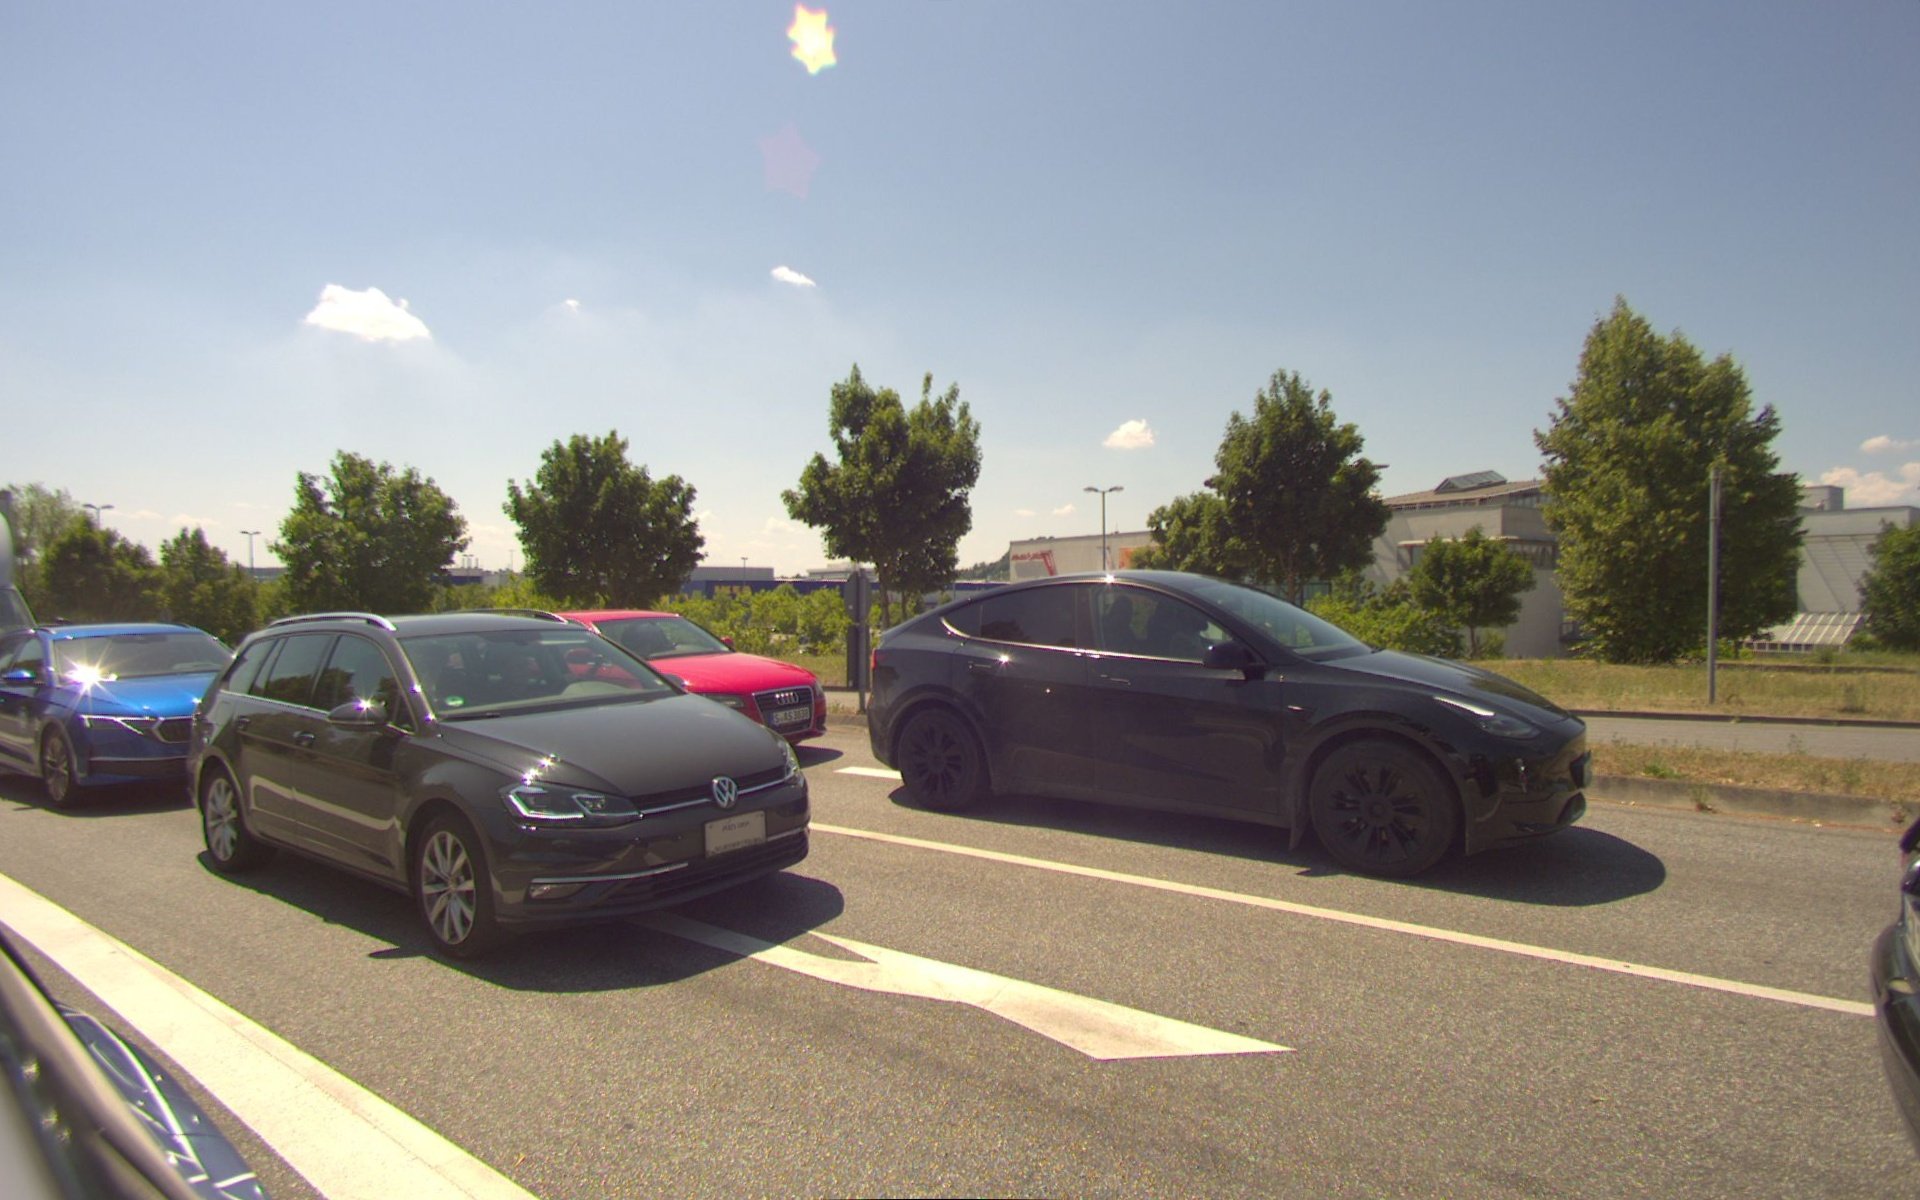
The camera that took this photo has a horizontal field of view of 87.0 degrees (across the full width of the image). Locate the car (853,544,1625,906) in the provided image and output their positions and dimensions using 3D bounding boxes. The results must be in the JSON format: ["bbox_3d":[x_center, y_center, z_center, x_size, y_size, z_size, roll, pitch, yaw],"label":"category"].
[{"bbox_3d":[1.596,0.577,6.600,4.497,1.613,1.858,-1,0,36],"label":"car"}]

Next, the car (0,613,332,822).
[{"bbox_3d":[-7.812,0.938,9.276,4.474,1.473,1.695,-2,0,32],"label":"car"}]

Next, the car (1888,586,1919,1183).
[{"bbox_3d":[3.331,0.660,1.073,3.295,1.418,1.604,-1,-1,38],"label":"car"}]

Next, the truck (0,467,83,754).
[{"bbox_3d":[-14.568,0.272,13.410,7.177,3.373,2.390,-3,-1,32],"label":"truck"}]

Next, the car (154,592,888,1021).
[{"bbox_3d":[-2.650,0.756,5.585,4.421,1.493,1.762,-1,0,37],"label":"car"}]

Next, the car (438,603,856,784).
[{"bbox_3d":[-3.252,0.778,10.080,4.441,1.399,1.646,-1,1,36],"label":"car"}]

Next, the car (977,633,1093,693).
[{"bbox_3d":[2.605,2.188,35.768,3.945,1.975,1.999,-1,-1,1],"label":"car"}]
